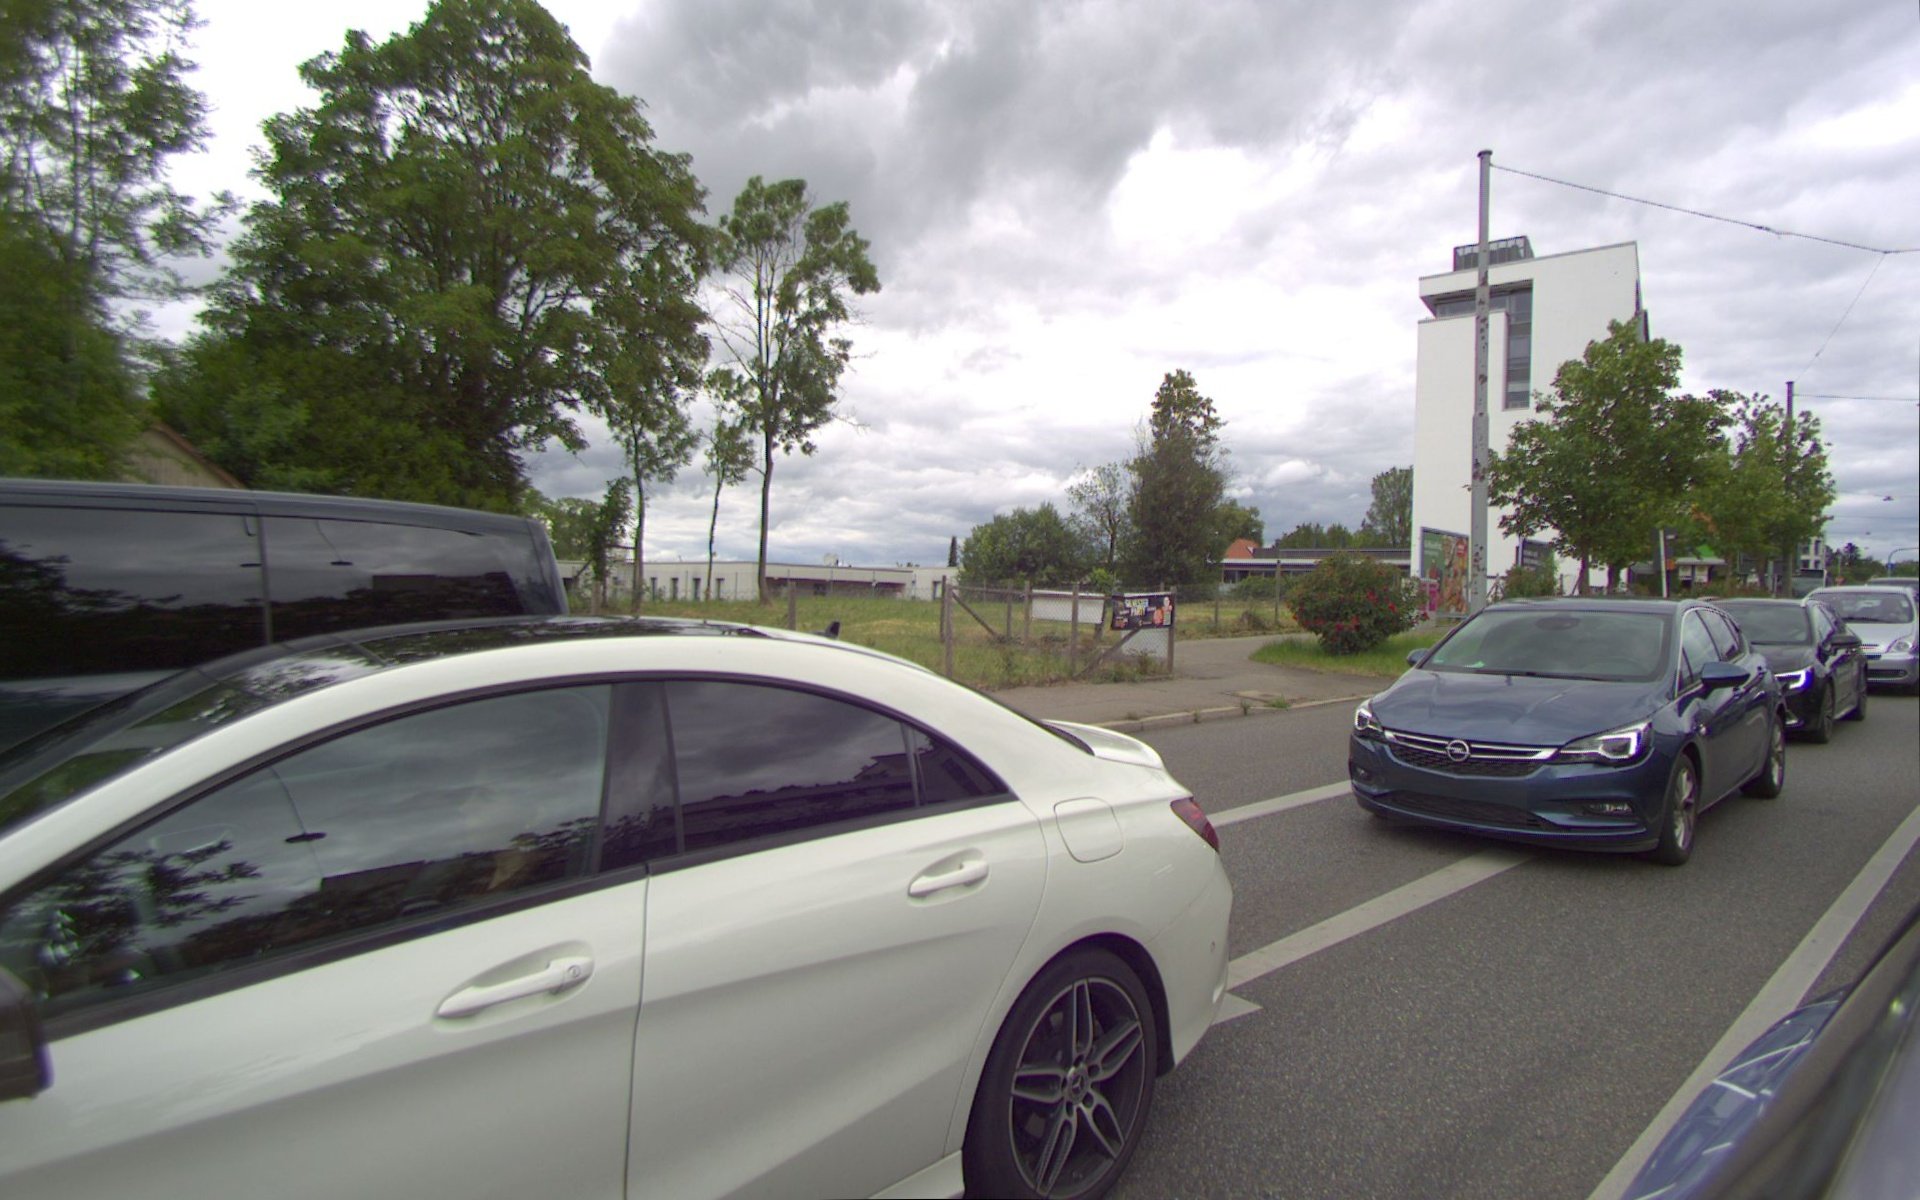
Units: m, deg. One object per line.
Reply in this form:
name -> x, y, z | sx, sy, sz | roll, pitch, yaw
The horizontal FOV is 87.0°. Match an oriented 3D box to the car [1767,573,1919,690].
car -> 14.306, 0.424, 15.947 | 3.717, 1.636, 1.849 | -1, 0, -41

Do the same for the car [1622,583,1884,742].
car -> 8.913, 0.552, 11.264 | 3.854, 1.475, 1.663 | -1, 1, -42

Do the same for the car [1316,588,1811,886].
car -> 4.261, 0.636, 6.886 | 3.931, 1.428, 1.825 | -1, 1, -42

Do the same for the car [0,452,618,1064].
car -> -3.849, 0.487, 3.574 | 4.627, 1.863, 1.952 | -1, 0, -41

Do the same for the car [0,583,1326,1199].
car -> -1.084, 0.702, 2.217 | 4.301, 1.451, 1.652 | -1, 2, -41

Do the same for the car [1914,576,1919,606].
car -> 57.403, -0.565, 59.251 | 1.991, 1.705, 3.941 | -2, 0, 41

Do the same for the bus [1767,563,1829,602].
bus -> 61.838, -1.287, 74.901 | 2.952, 2.664, 12.753 | 0, 1, 37

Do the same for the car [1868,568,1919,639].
car -> 27.027, 0.071, 28.521 | 4.068, 1.910, 1.848 | -1, 0, -44

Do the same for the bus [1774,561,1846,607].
bus -> 54.376, -1.044, 64.998 | 2.952, 2.664, 11.987 | 0, 1, 37
